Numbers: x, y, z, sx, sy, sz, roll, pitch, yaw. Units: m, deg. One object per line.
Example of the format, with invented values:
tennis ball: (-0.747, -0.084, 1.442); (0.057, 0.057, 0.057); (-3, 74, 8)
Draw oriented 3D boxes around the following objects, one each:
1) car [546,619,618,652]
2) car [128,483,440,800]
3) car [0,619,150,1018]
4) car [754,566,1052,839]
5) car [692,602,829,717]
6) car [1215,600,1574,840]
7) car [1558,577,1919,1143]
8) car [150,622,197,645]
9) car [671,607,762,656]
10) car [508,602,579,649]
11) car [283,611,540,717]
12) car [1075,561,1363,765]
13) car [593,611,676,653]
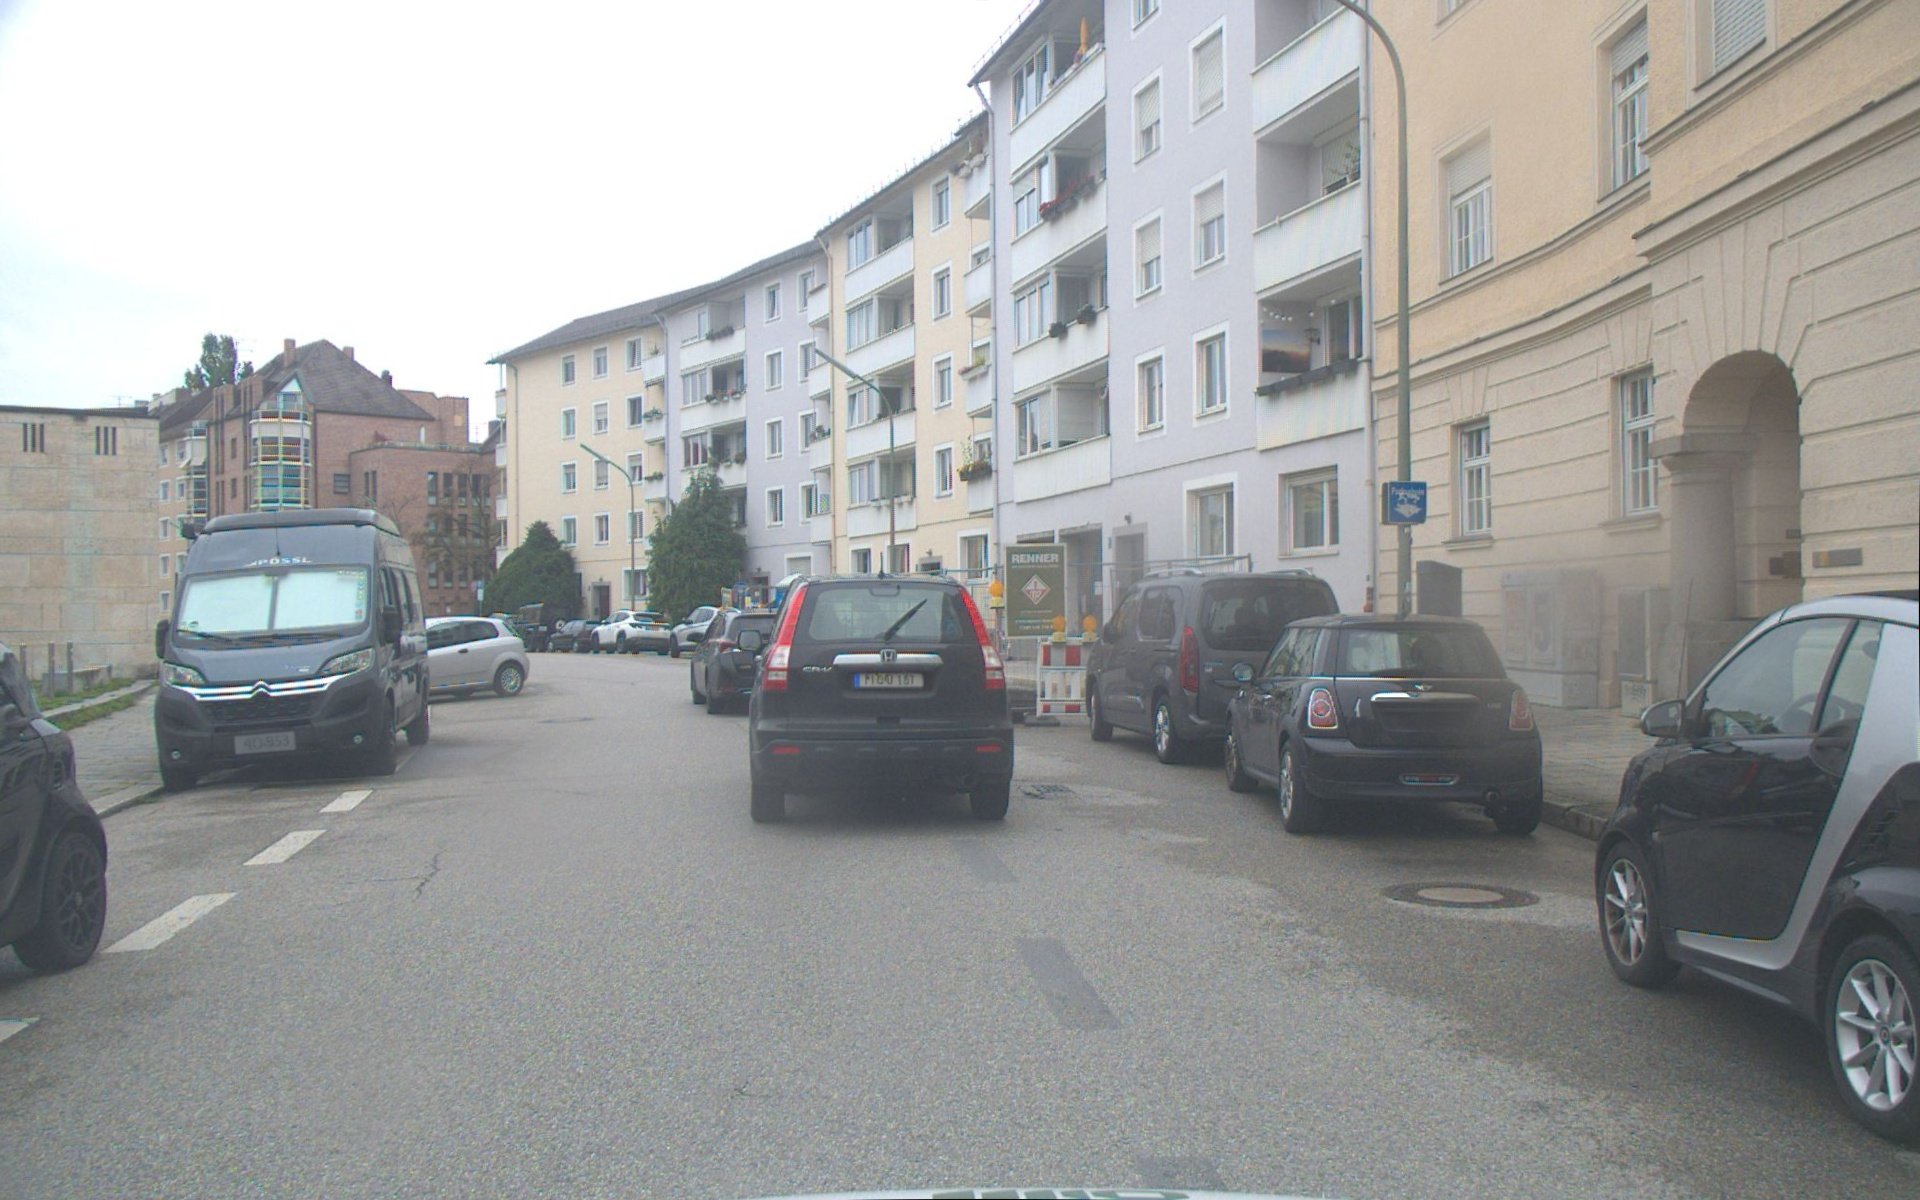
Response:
car: (-15.203, 1.420, 66.441); (1.683, 1.258, 3.559); (0, 0, -34)
car: (-6.792, 0.343, 17.346); (2.128, 2.688, 5.994); (-2, 0, -14)
car: (-4.545, 0.884, 6.321); (1.638, 1.528, 2.973); (-2, 0, -6)
car: (-0.580, 0.641, 12.302); (1.855, 1.676, 3.985); (0, 0, -7)
car: (-2.987, 0.802, 24.120); (1.649, 1.507, 4.074); (0, 0, -12)
car: (3.011, 0.761, 12.244); (1.673, 1.472, 3.830); (1, 0, 1)
car: (3.410, 0.732, 5.842); (1.503, 1.550, 3.111); (1, 0, 1)
car: (-54.478, 2.307, 114.506); (1.799, 1.498, 4.052); (0, 0, -43)
car: (-7.919, 0.997, 53.598); (1.705, 1.509, 3.963); (0, 0, -28)
car: (-17.697, 1.065, 70.212); (1.709, 1.911, 3.952); (0, 0, -34)
car: (-9.717, 1.112, 29.545); (1.652, 1.507, 4.068); (-5, -1, 38)
car: (2.519, 0.591, 17.198); (1.745, 1.838, 4.267); (1, 0, -9)
car: (-12.284, 1.167, 62.299); (1.709, 1.509, 3.952); (0, 0, -34)
